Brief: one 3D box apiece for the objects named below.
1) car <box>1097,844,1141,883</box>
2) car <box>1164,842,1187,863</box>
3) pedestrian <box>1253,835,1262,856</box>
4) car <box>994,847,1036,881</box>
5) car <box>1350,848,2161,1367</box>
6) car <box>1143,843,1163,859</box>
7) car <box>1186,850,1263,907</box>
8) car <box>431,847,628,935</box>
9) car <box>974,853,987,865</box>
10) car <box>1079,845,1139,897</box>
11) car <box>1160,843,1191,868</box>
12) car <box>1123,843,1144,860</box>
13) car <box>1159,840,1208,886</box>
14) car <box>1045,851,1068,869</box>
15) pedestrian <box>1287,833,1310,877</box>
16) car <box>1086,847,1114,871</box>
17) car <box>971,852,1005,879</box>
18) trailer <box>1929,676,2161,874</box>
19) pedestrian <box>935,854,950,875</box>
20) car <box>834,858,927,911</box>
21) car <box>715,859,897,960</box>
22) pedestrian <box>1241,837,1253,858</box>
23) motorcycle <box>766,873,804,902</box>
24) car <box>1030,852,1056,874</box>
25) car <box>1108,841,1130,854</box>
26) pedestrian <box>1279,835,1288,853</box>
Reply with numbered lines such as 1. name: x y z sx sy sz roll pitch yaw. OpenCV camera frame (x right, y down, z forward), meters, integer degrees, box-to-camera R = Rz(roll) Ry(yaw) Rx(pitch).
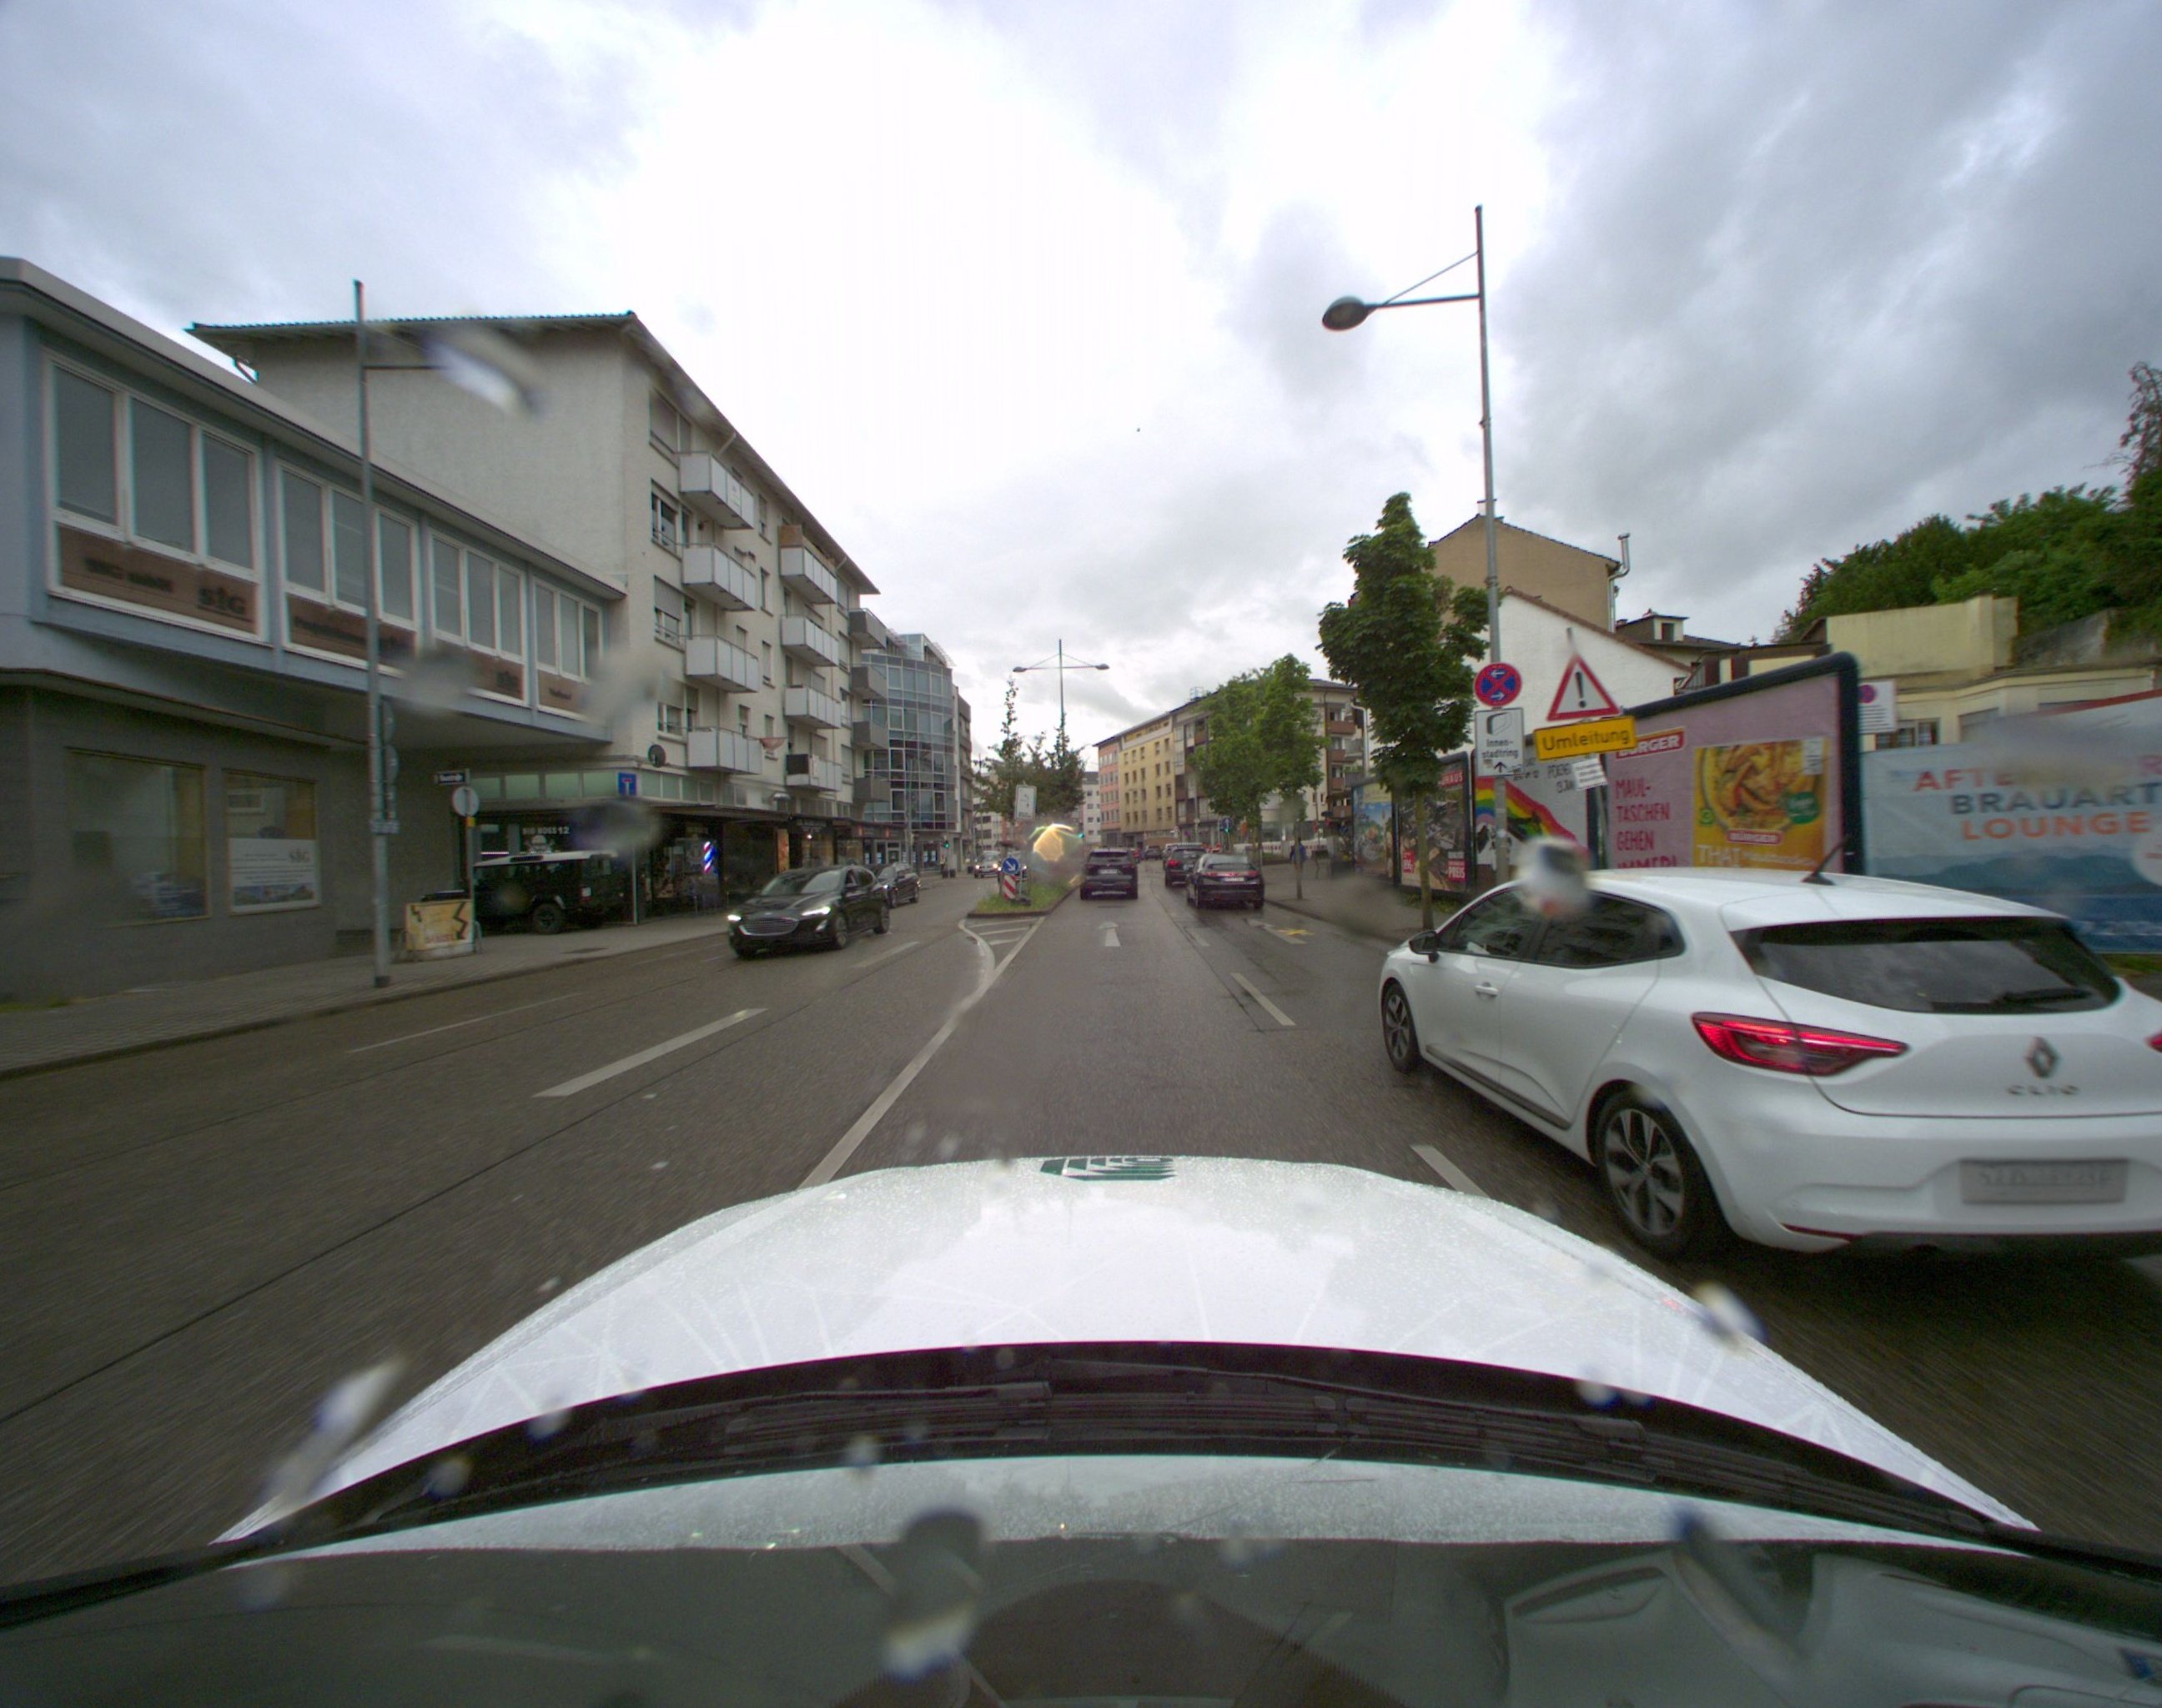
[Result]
1. car: 1.662 0.383 35.397 1.816 1.600 3.721 0 0 3
2. car: 8.000 -0.155 69.063 1.821 1.683 3.725 0 1 6
3. pedestrian: 16.803 -0.819 77.496 0.816 2.013 0.842 0 1 10
4. car: -3.527 0.502 44.253 1.677 1.661 4.099 -4 0 2
5. car: 2.901 0.747 4.361 1.659 1.396 3.868 -3 1 1
6. car: 7.673 -0.319 87.508 1.704 1.611 3.725 0 1 -2
7. car: 3.848 0.613 22.300 1.778 1.400 3.724 -1 0 6
8. car: -13.991 0.906 20.773 3.944 2.034 1.583 -2 0 5
9. car: -12.257 0.614 99.542 1.455 1.430 3.359 0 1 -9
10. car: 0.935 0.509 26.686 1.816 1.600 3.721 0 0 3
11. car: 6.153 0.061 53.540 1.822 1.562 3.723 0 1 4
12. car: 4.686 -0.225 73.520 1.635 1.381 3.348 -3 0 1
13. car: 4.284 0.321 34.520 1.822 1.805 3.723 0 1 4
14. car: -2.048 0.459 69.273 1.664 1.369 3.754 -3 0 2
15. pedestrian: 9.016 0.019 33.742 0.785 1.755 0.875 -3 0 15
16. car: 1.199 0.311 51.644 1.635 1.381 3.348 -3 0 1
17. car: -6.227 0.734 54.904 1.626 1.591 3.938 -4 0 2
18. trailer: 15.947 -1.171 11.647 2.117 2.716 5.397 -4 1 4
19. pedestrian: -10.847 0.805 63.812 0.786 1.591 0.755 -3 0 -35
20. car: -6.732 0.958 27.919 1.701 1.467 4.832 -5 0 2
21. car: -4.845 0.901 15.032 1.714 1.423 4.167 -4 0 2
22. pedestrian: 15.882 -0.613 77.721 0.823 2.013 0.835 0 1 -17
23. motorcycle: -11.130 1.228 30.675 0.523 0.995 2.138 0 0 3
24. car: -2.721 0.597 59.026 1.527 1.412 3.939 -4 0 2
25. car: 4.235 -0.705 90.514 1.641 1.344 3.336 -3 0 -11
26. pedestrian: 19.887 -0.942 80.044 0.531 1.769 0.617 0 1 -28
